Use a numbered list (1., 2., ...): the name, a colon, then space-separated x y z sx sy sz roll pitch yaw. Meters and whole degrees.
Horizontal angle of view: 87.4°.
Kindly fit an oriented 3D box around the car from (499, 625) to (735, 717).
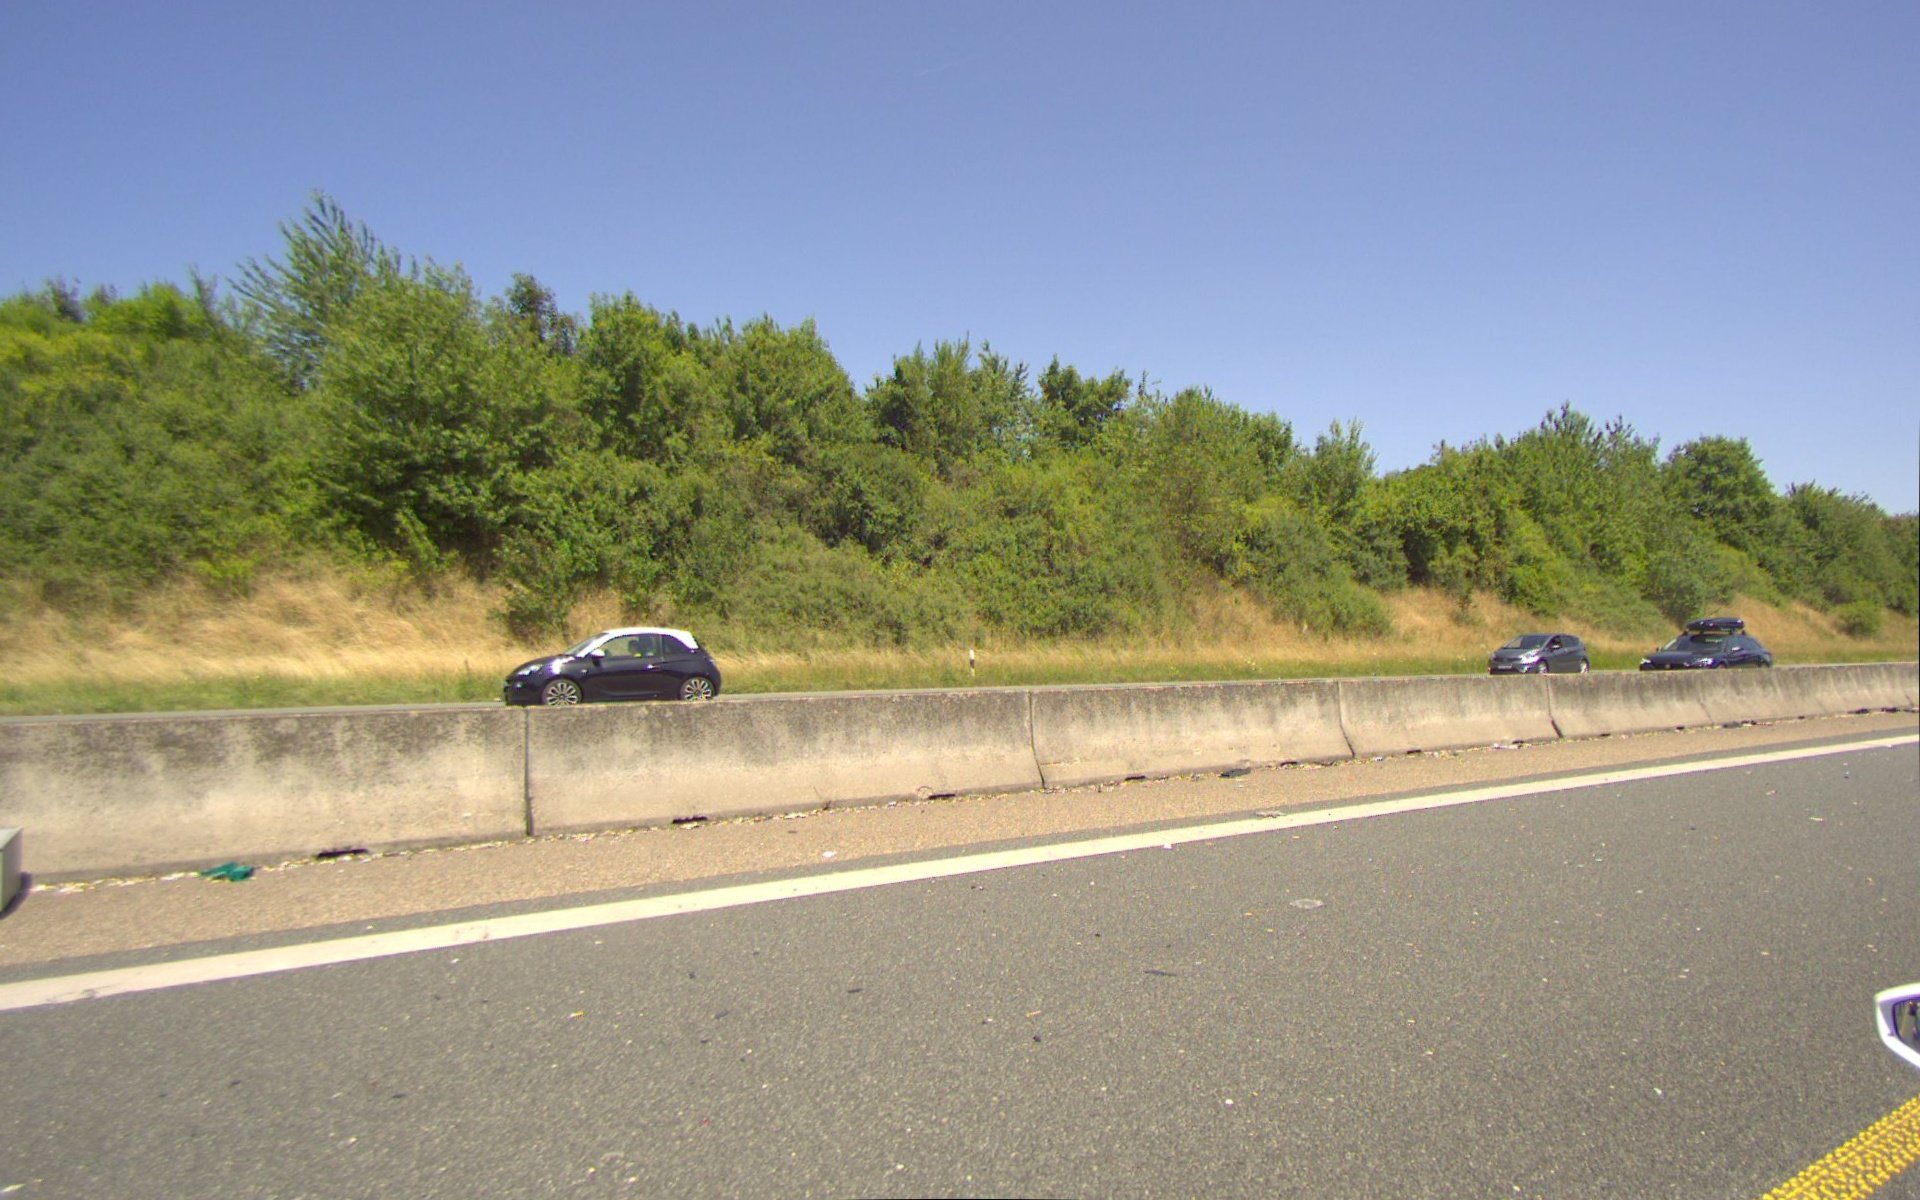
1. car: -6.050 1.196 17.809 3.735 1.484 1.566 1 -2 -31

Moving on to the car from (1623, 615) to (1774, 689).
1. car: 19.698 1.346 26.736 4.572 1.842 1.732 1 -2 -33

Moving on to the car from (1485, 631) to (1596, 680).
1. car: 19.444 1.824 33.599 3.953 1.568 1.492 1 -2 -31
